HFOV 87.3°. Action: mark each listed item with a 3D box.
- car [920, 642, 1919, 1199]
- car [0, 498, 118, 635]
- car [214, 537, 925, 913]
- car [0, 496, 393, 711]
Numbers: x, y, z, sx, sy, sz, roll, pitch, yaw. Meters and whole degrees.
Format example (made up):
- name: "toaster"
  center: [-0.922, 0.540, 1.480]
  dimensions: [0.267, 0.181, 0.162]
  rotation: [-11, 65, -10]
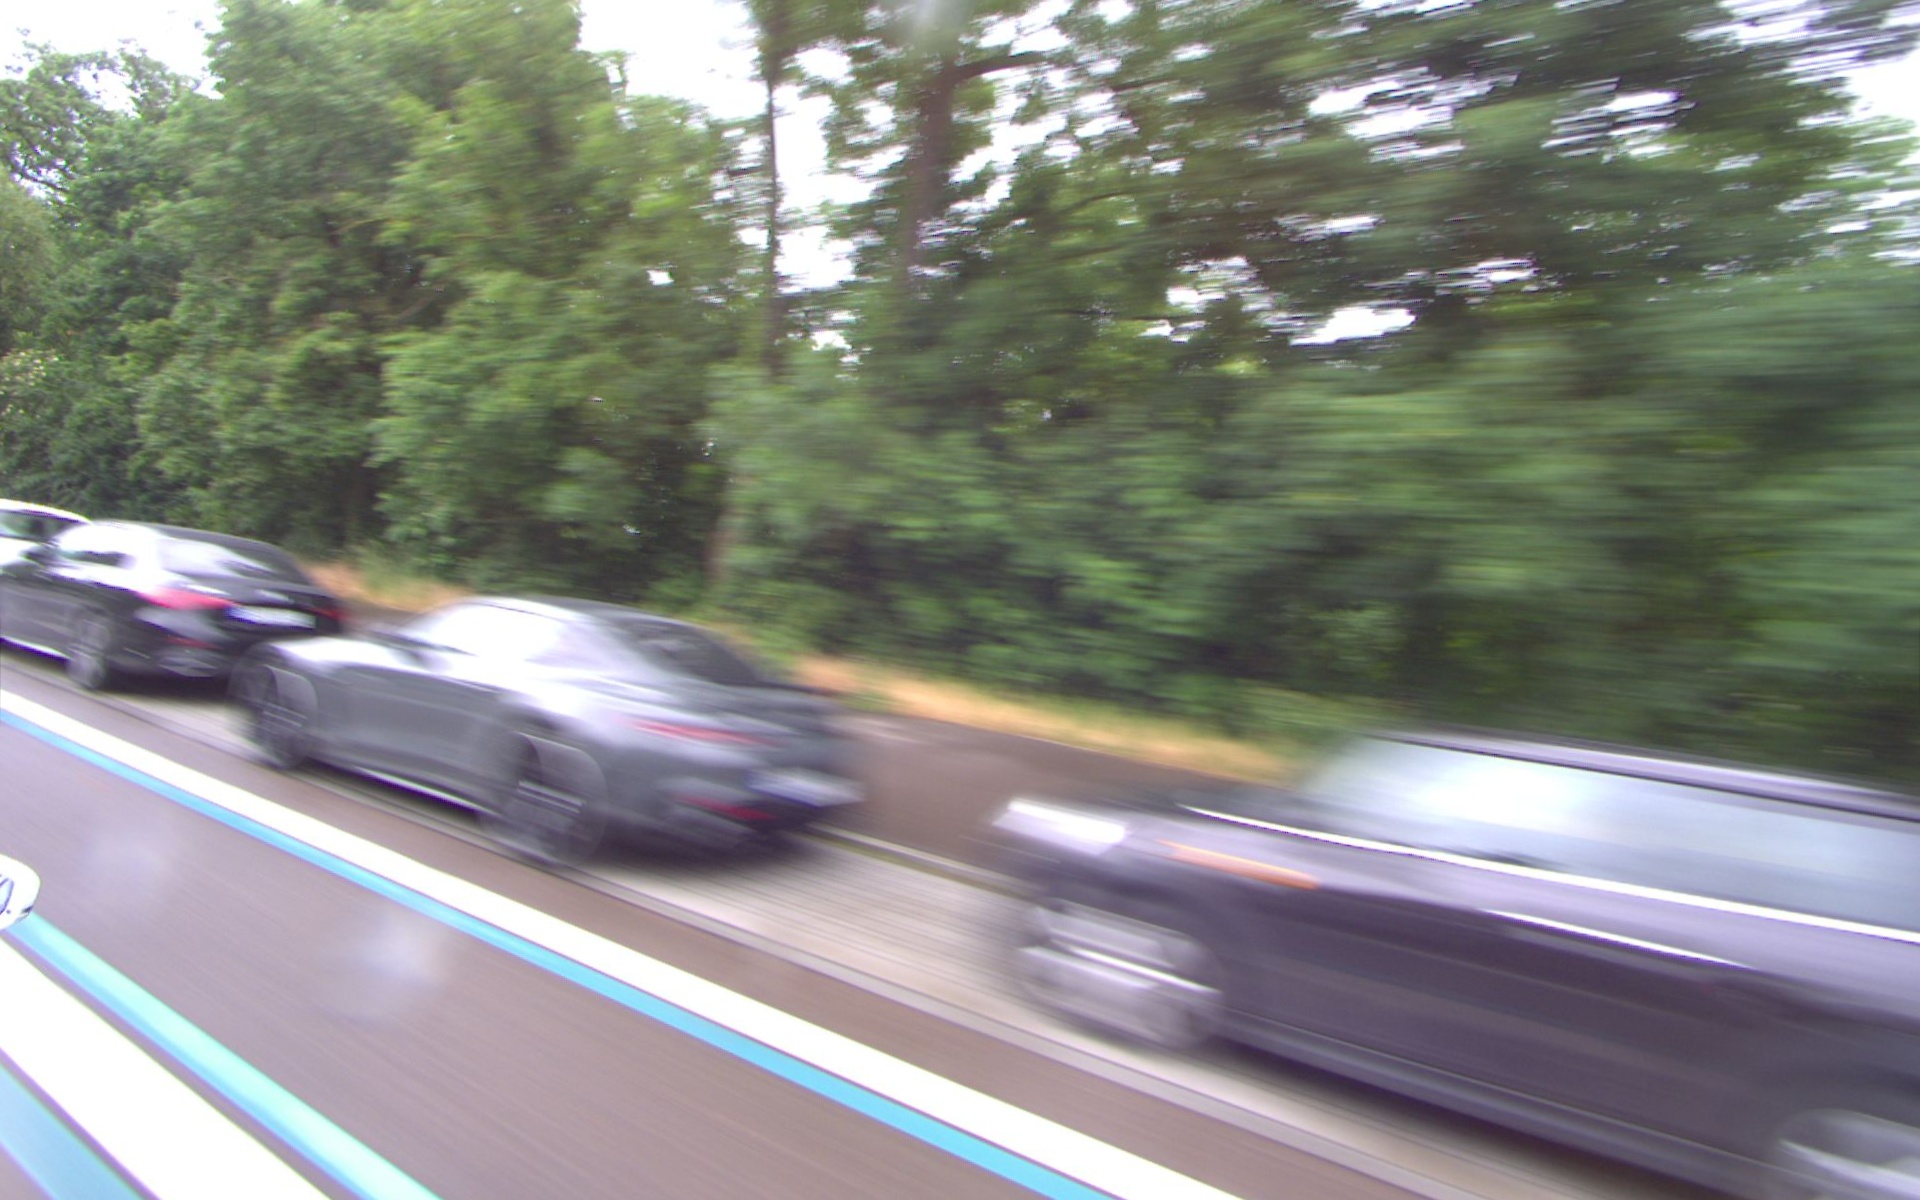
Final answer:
- name: "car"
  center: [1.903, 1.166, 4.087]
  dimensions: [3.640, 1.429, 1.701]
  rotation: [7, -2, 29]
- name: "car"
  center: [-12.355, -0.574, 12.604]
  dimensions: [3.614, 1.477, 1.563]
  rotation: [7, -1, 31]
- name: "car"
  center: [-2.609, 0.597, 6.494]
  dimensions: [4.310, 1.415, 1.857]
  rotation: [7, -2, 30]
- name: "car"
  center: [-7.775, -0.043, 9.770]
  dimensions: [4.673, 1.472, 1.859]
  rotation: [7, -1, 32]
